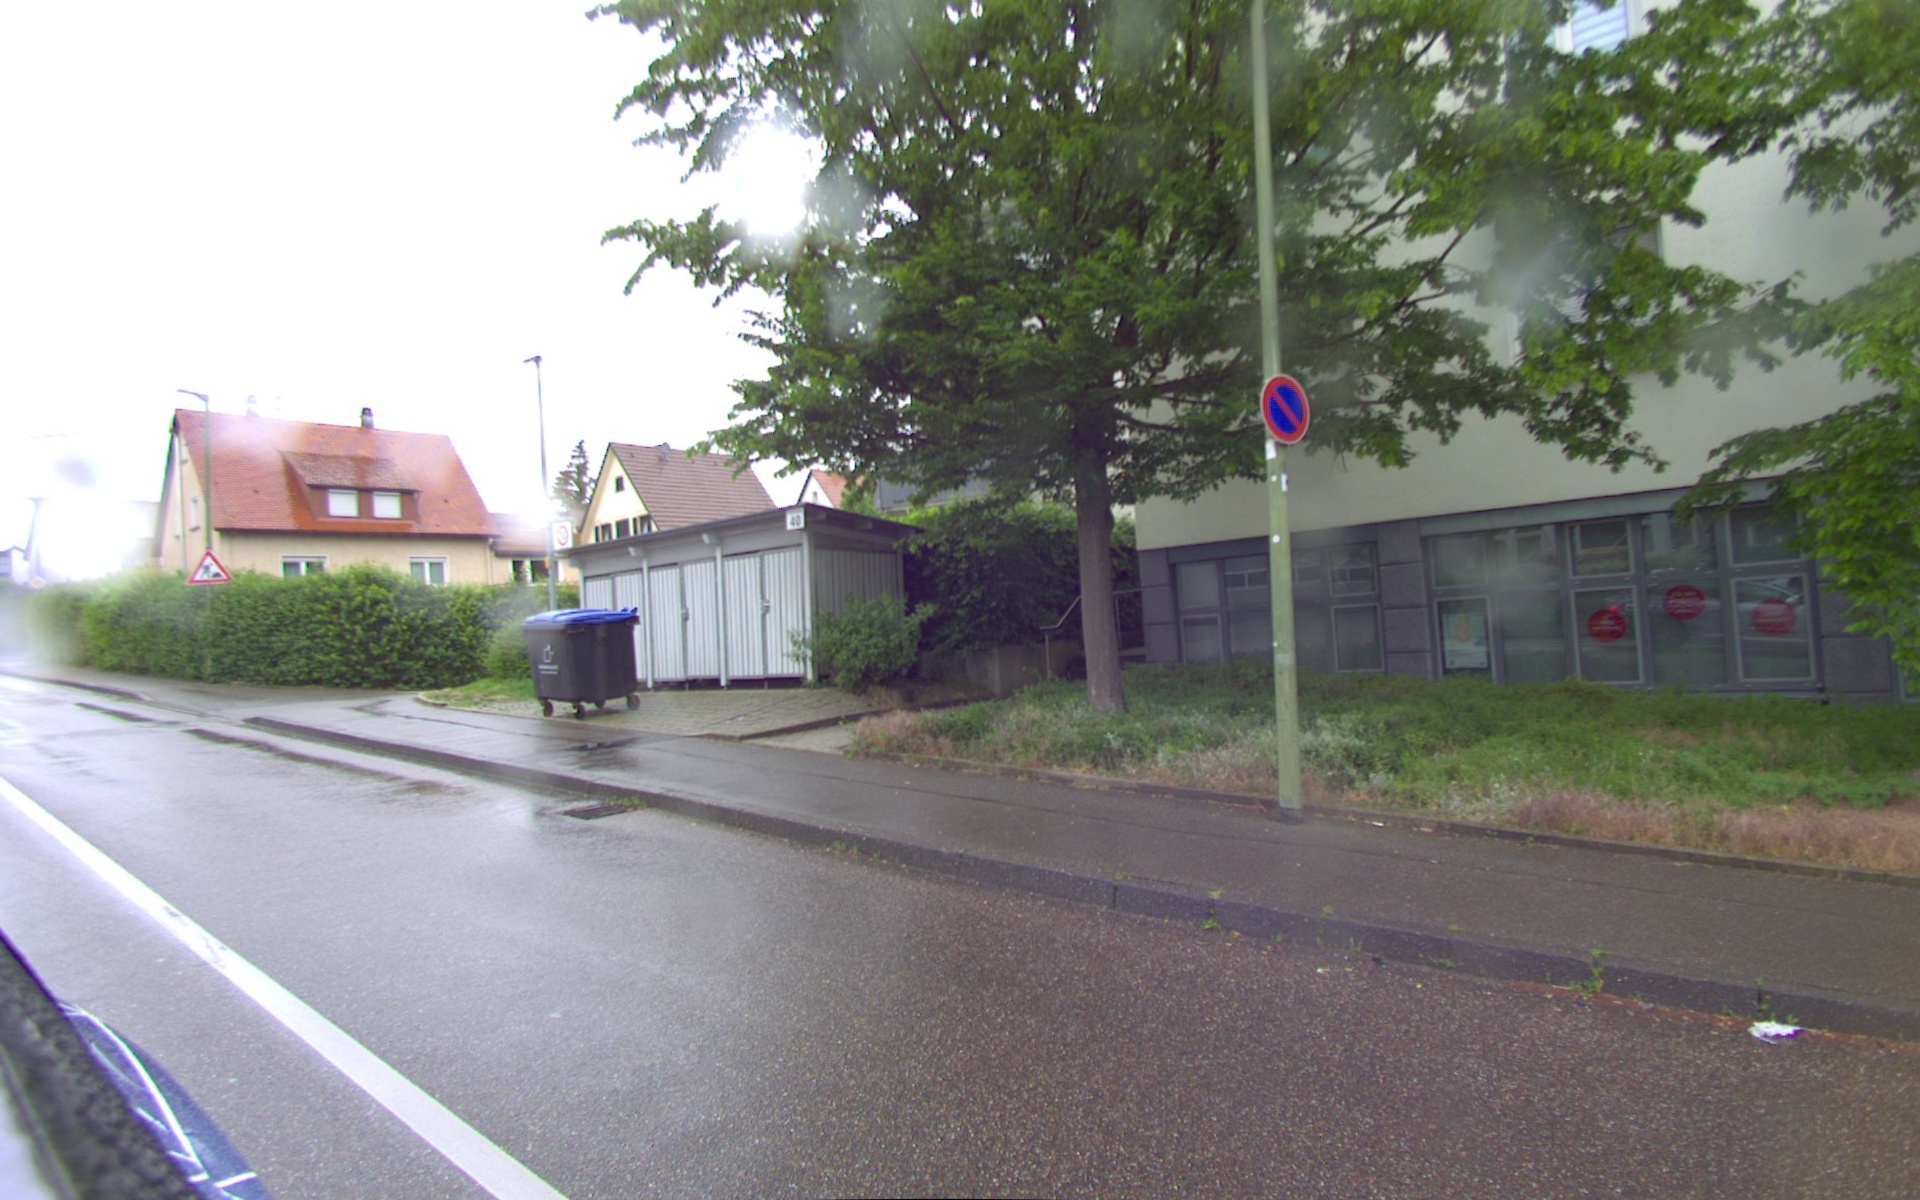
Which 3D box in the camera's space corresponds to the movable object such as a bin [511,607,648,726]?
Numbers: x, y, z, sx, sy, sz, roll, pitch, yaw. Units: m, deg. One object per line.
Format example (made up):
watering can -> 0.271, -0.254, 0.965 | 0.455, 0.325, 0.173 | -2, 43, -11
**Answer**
movable object such as a bin -> -4.755, 0.811, 12.661 | 1.201, 1.306, 1.043 | -3, 3, 41
